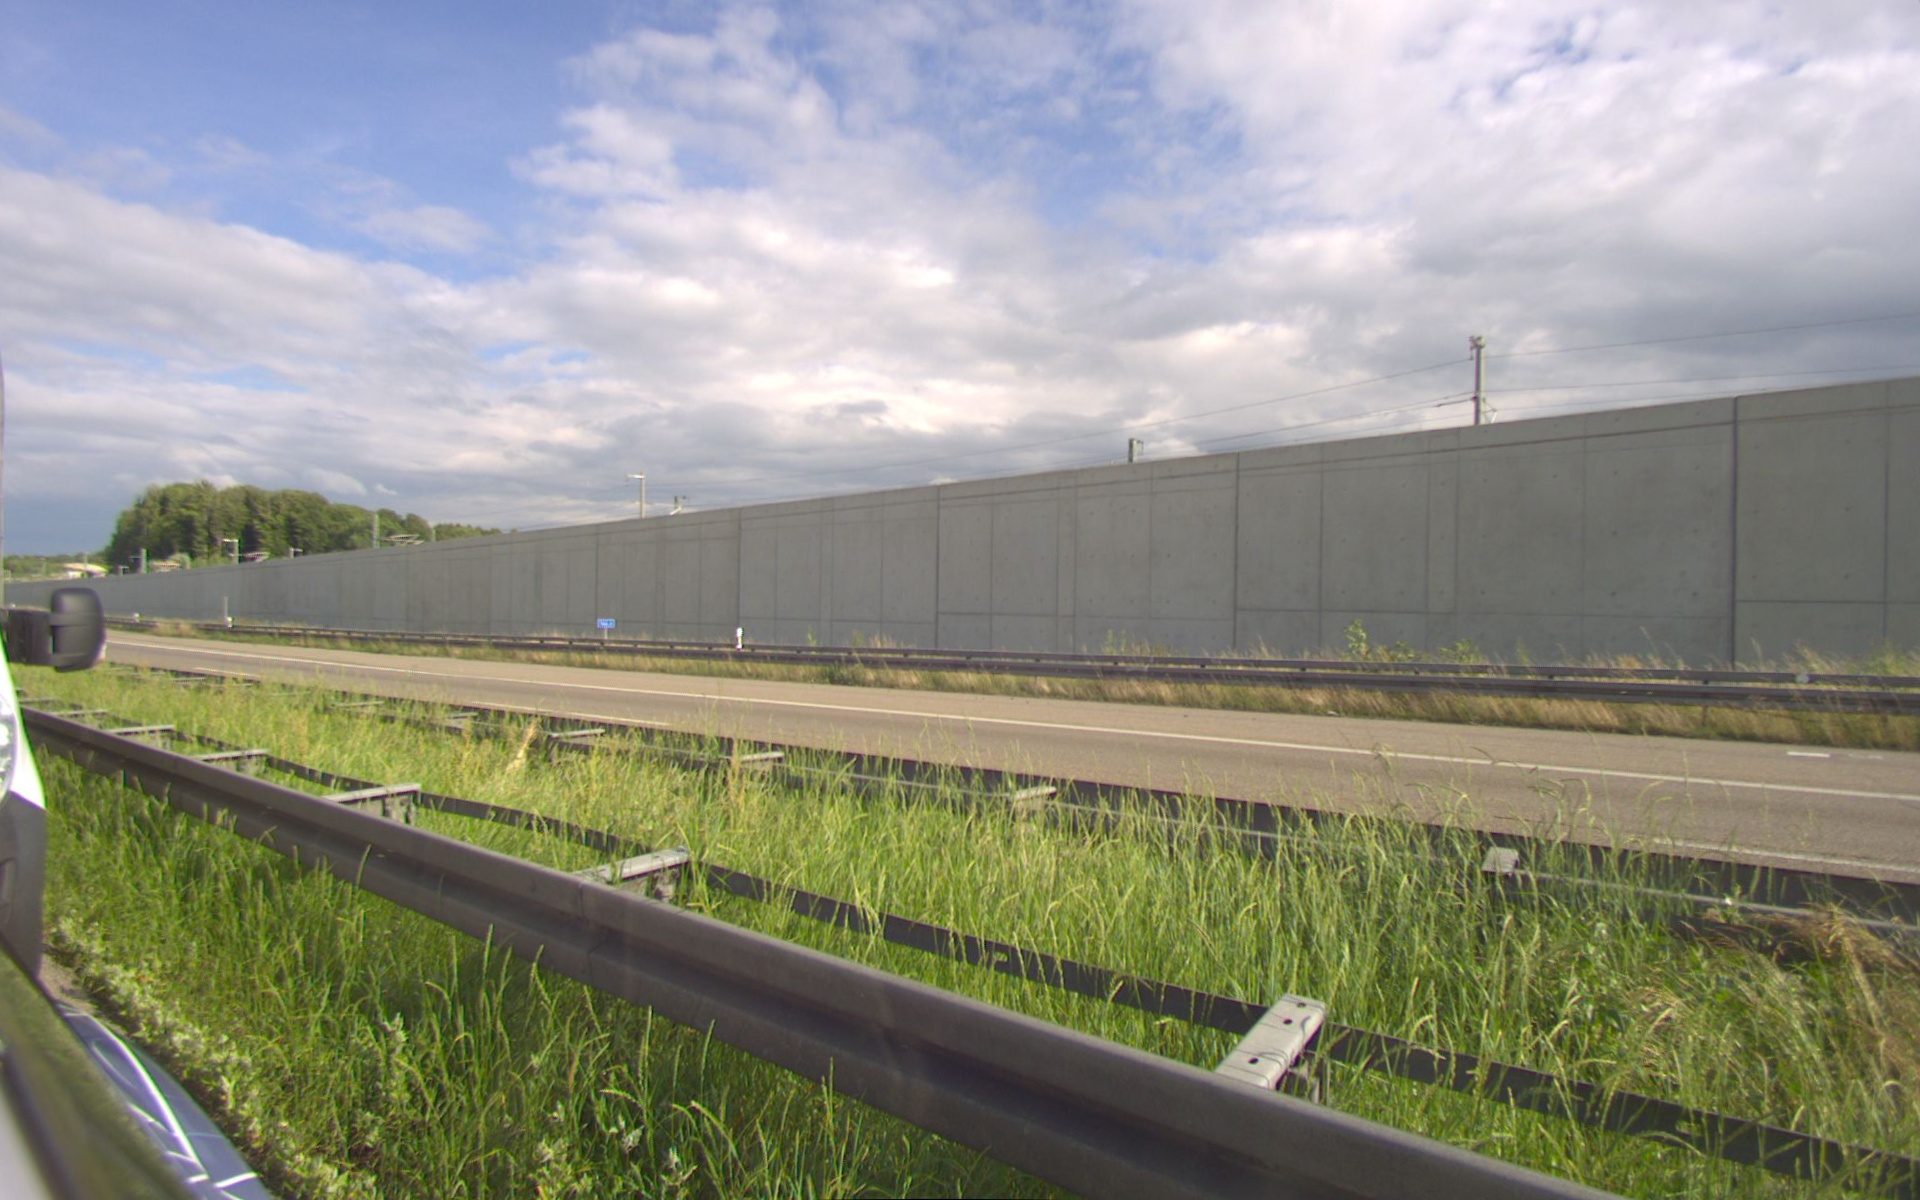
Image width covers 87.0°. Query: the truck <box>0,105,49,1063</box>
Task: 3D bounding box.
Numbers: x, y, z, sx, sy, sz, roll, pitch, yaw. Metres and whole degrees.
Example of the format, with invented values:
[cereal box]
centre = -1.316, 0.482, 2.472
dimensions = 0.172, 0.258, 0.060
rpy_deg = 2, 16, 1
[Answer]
[truck]
centre = -6.649, -0.020, 5.194
dimensions = 7.800, 3.129, 2.033
rpy_deg = -1, 0, 41
